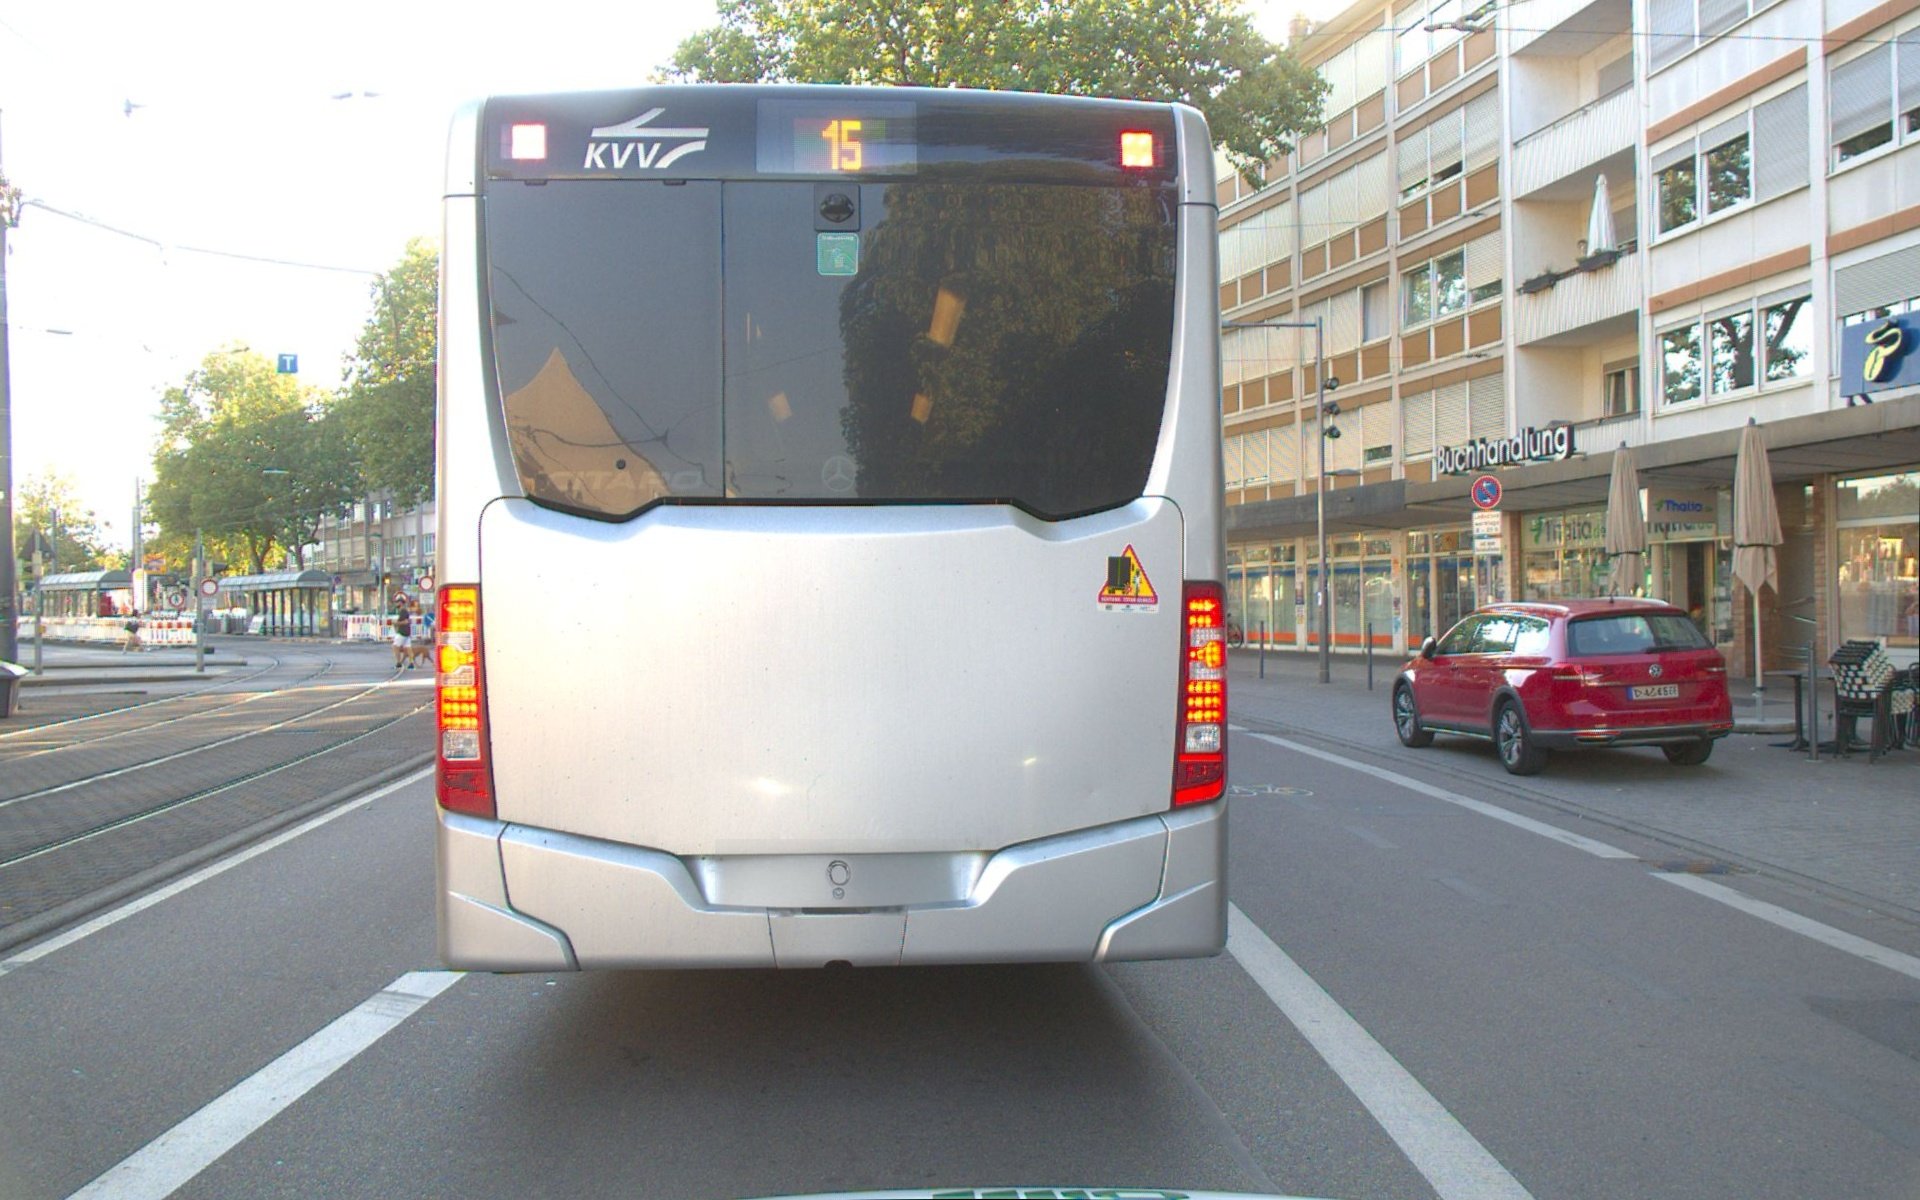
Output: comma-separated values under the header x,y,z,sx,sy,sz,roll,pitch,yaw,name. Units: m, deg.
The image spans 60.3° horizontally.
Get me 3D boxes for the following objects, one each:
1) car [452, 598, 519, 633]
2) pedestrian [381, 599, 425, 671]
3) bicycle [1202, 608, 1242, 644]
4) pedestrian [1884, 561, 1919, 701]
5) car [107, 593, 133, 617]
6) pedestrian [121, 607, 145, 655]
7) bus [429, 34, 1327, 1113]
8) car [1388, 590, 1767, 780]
x,y,z,sx,sy,sz,roll,pitch,yaw,name
-25.228,0.805,87.879,1.982,1.823,3.940,1,-1,-41,car
-13.762,0.867,40.874,0.878,1.758,0.517,-1,0,1,pedestrian
7.224,0.715,45.662,0.406,0.961,1.431,-1,0,-20,bicycle
11.419,0.348,19.375,0.637,1.620,0.788,-3,0,-6,pedestrian
-72.068,0.457,141.883,1.604,2.049,3.075,-1,0,-34,car
-29.507,1.113,59.031,0.653,1.685,0.436,-1,-1,-44,pedestrian
-0.432,-0.061,9.784,2.578,3.081,9.992,0,0,-3,bus
5.713,0.705,15.935,1.735,1.508,4.299,-2,0,-4,car
